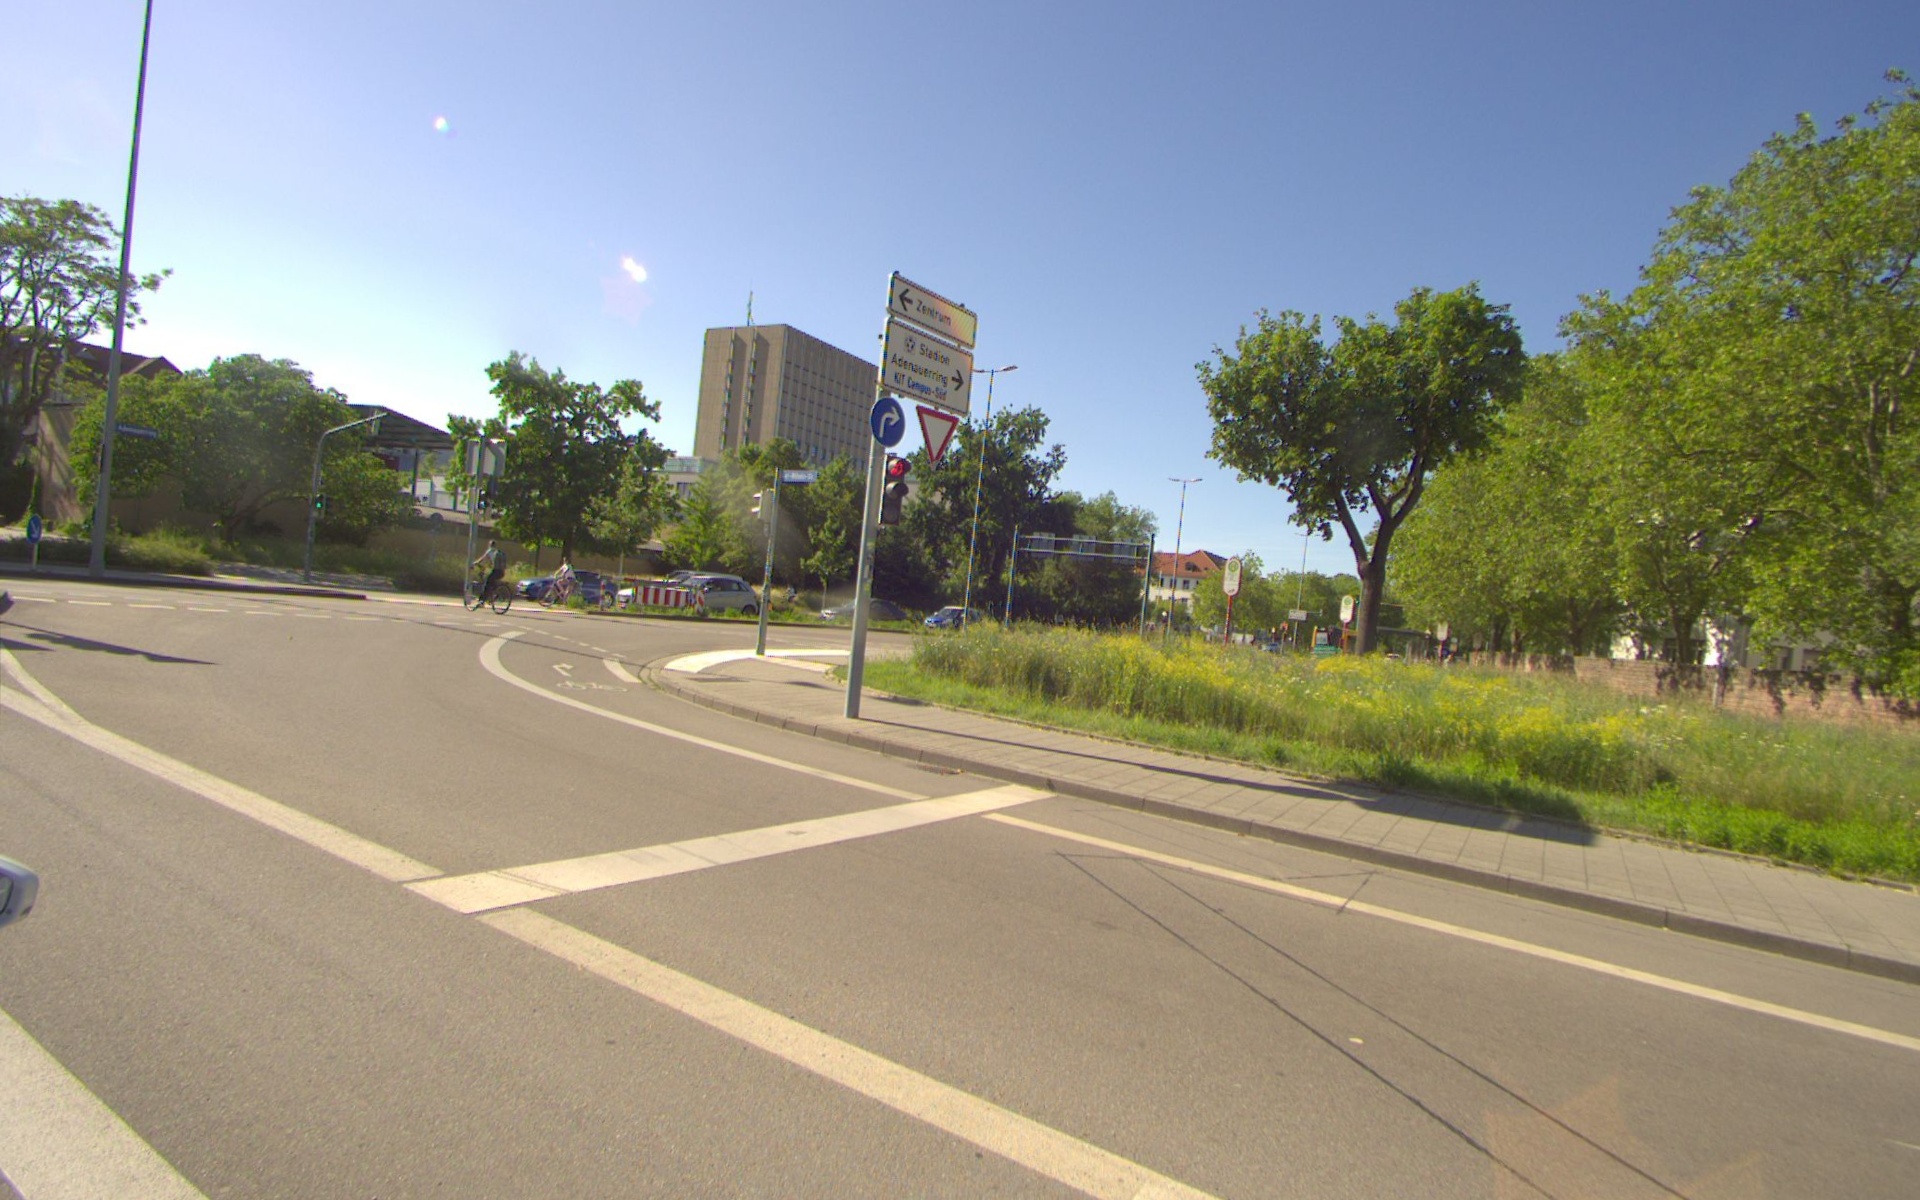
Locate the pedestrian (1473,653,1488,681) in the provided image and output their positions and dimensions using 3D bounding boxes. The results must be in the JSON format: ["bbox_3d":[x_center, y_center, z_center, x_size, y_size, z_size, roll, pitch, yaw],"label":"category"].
[{"bbox_3d":[31.760,4.091,61.352,0.642,1.630,0.558,7,-1,30],"label":"pedestrian"}]

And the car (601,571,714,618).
[{"bbox_3d":[-12.476,-0.213,41.681,1.971,1.487,3.982,6,0,40],"label":"car"}]

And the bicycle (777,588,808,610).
[{"bbox_3d":[-10.229,-0.037,61.425,0.632,1.180,1.952,9,3,31],"label":"bicycle"}]

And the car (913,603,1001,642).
[{"bbox_3d":[-0.087,1.183,50.741,1.953,1.573,4.709,5,-1,35],"label":"car"}]

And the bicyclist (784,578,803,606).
[{"bbox_3d":[-10.158,-0.468,61.417,0.621,1.617,0.830,9,4,31],"label":"bicyclist"}]

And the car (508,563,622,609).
[{"bbox_3d":[-16.160,-0.548,41.317,1.679,1.459,3.988,5,-1,35],"label":"car"}]

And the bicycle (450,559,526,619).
[{"bbox_3d":[-11.268,-0.264,23.984,1.839,1.180,0.641,8,2,31],"label":"bicycle"}]

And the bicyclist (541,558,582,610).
[{"bbox_3d":[-13.967,-0.557,35.257,0.734,1.707,0.974,7,2,34],"label":"bicyclist"}]

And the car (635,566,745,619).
[{"bbox_3d":[-12.518,-0.327,46.959,1.909,1.976,4.742,5,-1,35],"label":"car"}]

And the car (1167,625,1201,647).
[{"bbox_3d":[21.546,3.495,96.587,1.906,1.821,4.354,5,-1,29],"label":"car"}]

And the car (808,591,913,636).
[{"bbox_3d":[-4.345,0.642,44.586,1.953,1.573,4.709,5,-1,35],"label":"car"}]

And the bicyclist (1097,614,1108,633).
[{"bbox_3d":[13.066,2.184,92.257,0.632,1.666,0.775,7,1,29],"label":"bicyclist"}]

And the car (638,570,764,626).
[{"bbox_3d":[-9.538,-0.053,37.343,1.762,1.644,4.303,5,-1,35],"label":"car"}]

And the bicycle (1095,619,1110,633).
[{"bbox_3d":[13.056,2.373,92.314,0.632,1.179,1.867,7,0,29],"label":"bicycle"}]

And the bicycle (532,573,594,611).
[{"bbox_3d":[-13.941,-0.286,35.348,0.736,1.180,1.864,7,2,33],"label":"bicycle"}]

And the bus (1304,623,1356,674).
[{"bbox_3d":[29.070,3.858,78.865,2.935,3.310,6.255,7,-2,26],"label":"bus"}]

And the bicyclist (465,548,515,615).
[{"bbox_3d":[-11.194,-0.436,23.949,0.763,1.463,0.641,8,3,31],"label":"bicyclist"}]
